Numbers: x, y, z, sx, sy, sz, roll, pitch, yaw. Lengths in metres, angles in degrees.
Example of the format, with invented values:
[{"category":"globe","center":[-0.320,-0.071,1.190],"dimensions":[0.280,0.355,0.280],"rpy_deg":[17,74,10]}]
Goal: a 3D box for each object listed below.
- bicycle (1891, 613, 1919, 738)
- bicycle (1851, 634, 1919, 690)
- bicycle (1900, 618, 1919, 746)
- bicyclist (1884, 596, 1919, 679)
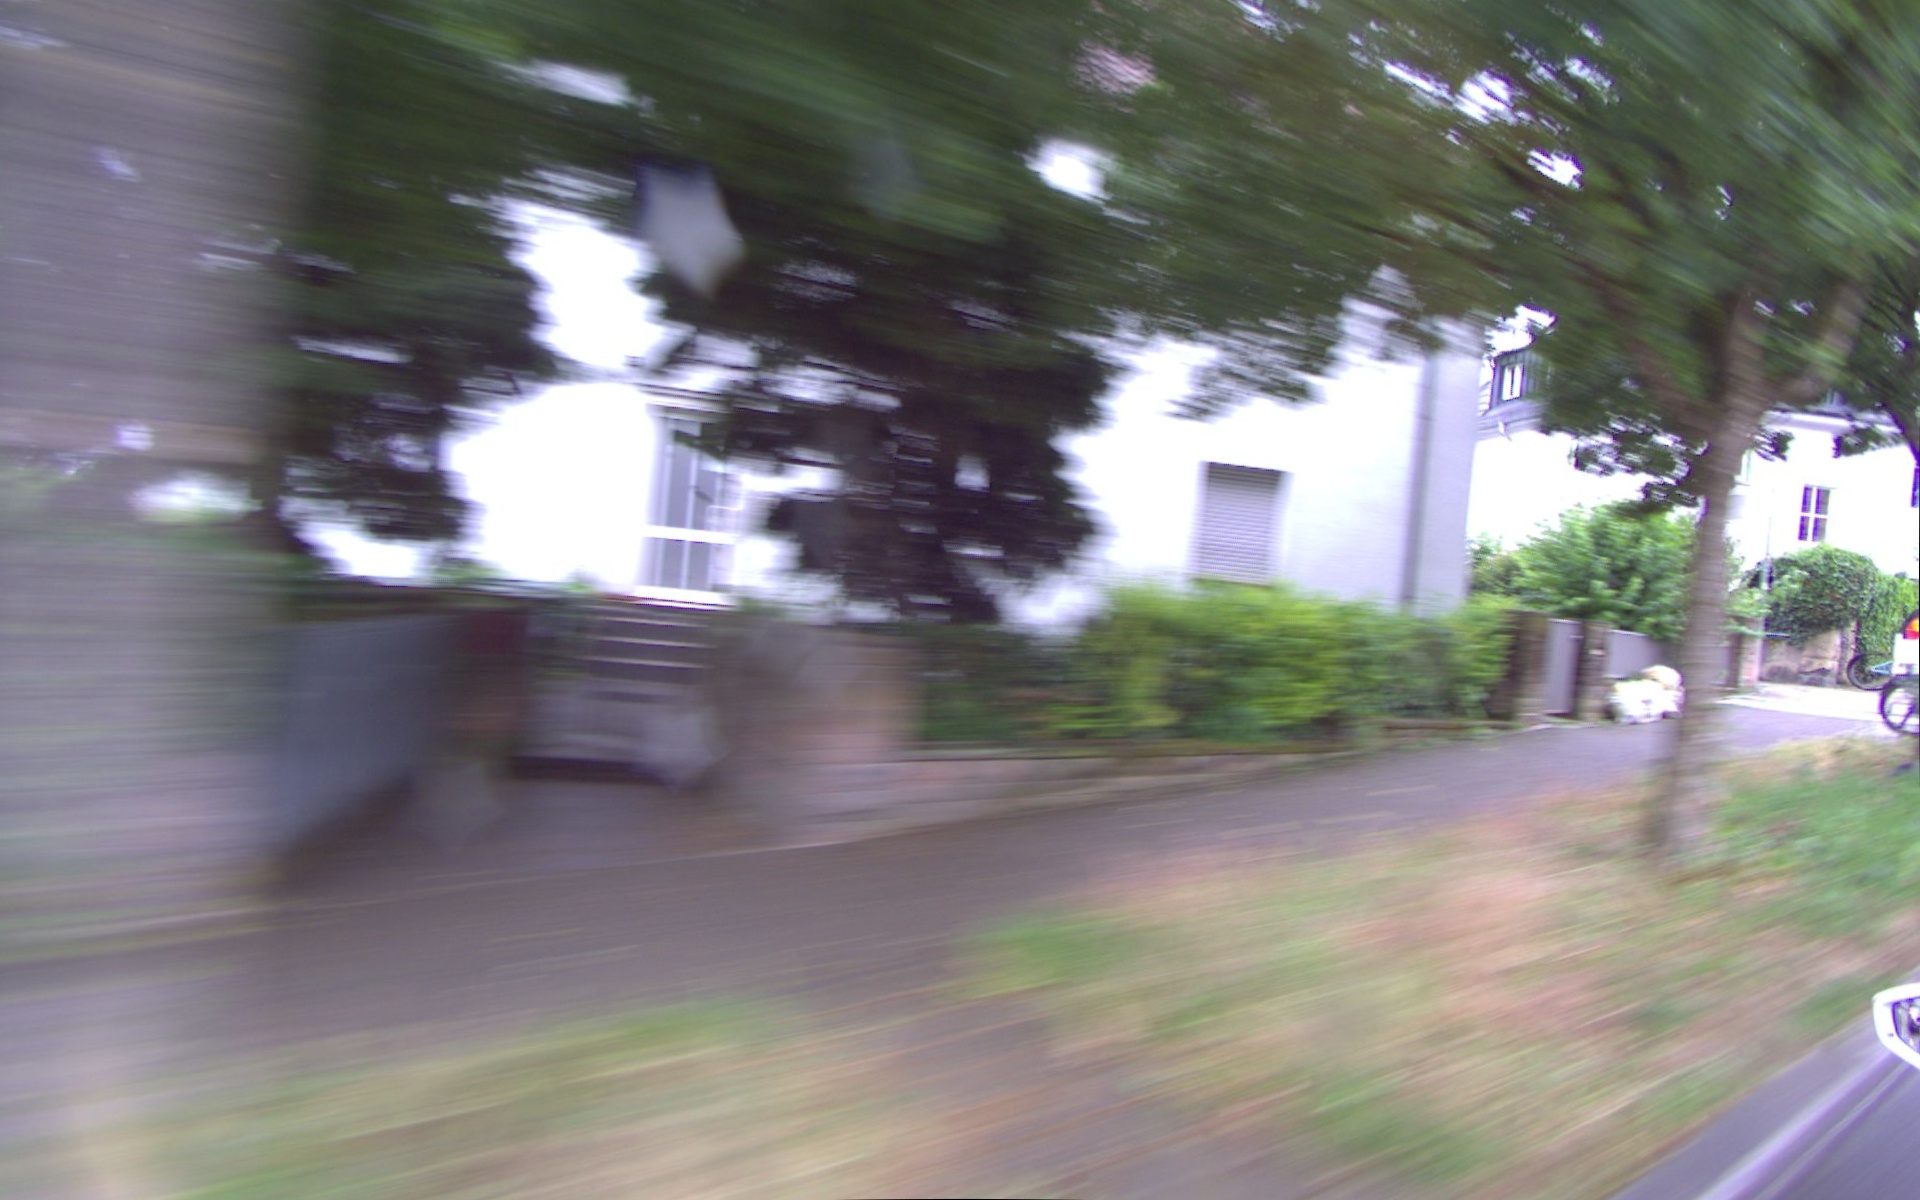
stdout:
[{"category":"bicycle","center":[11.541,0.870,10.760],"dimensions":[0.803,1.380,2.208],"rpy_deg":[1,0,-42]},{"category":"bicycle","center":[17.482,1.128,18.095],"dimensions":[1.083,0.944,1.863],"rpy_deg":[2,0,-28]},{"category":"bicycle","center":[11.024,0.934,10.480],"dimensions":[0.415,1.364,1.675],"rpy_deg":[-1,4,-41]},{"category":"bicyclist","center":[17.492,0.681,18.098],"dimensions":[1.084,1.458,0.902],"rpy_deg":[1,0,-28]}]
